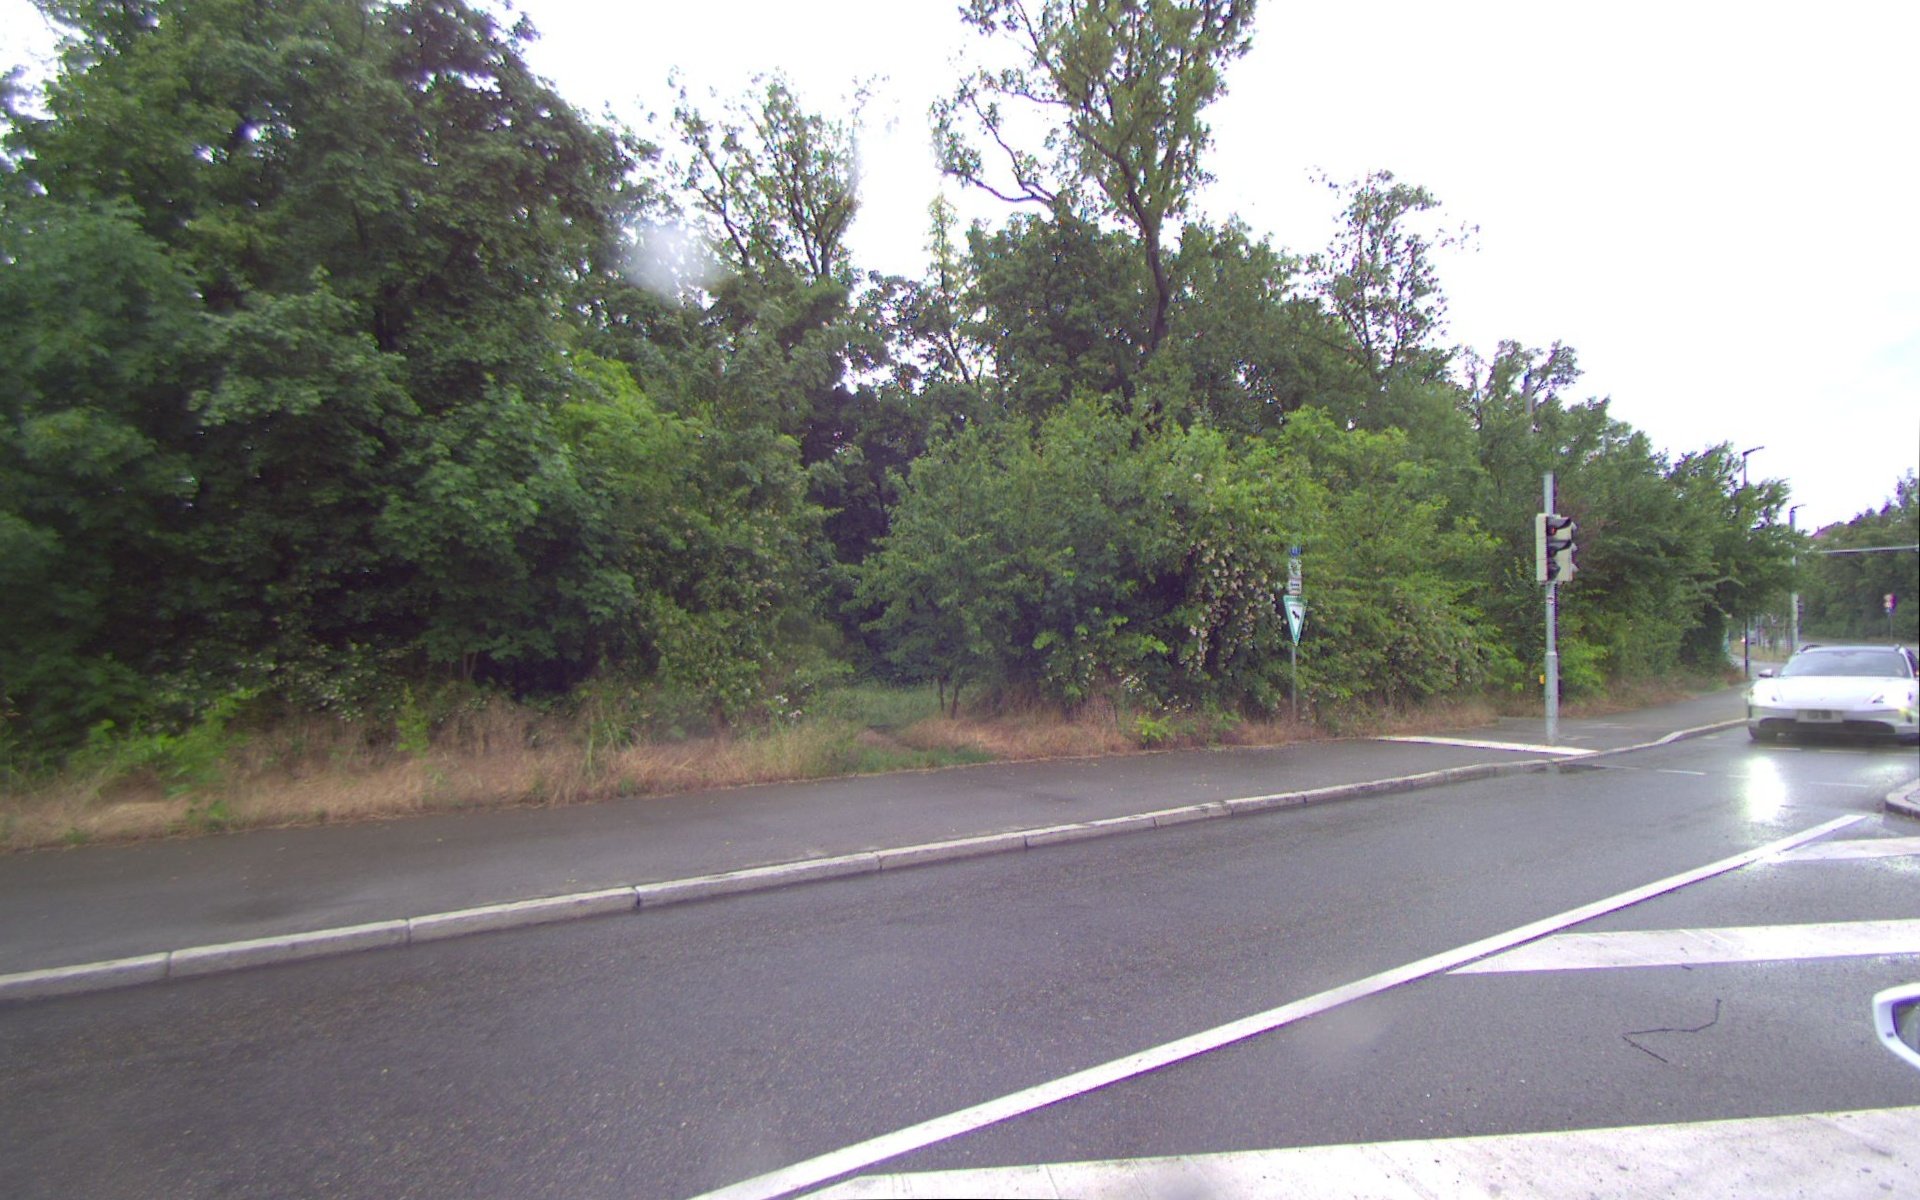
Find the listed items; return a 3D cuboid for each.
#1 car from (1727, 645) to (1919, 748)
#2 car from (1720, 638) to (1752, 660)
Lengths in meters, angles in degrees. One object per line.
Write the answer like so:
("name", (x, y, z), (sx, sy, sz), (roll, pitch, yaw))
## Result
("car", (13.646, 1.399, 15.501), (4.324, 1.328, 1.977), (1, -4, -40))
("car", (76.746, 4.810, 99.394), (1.964, 2.040, 3.993), (1, -1, 30))
